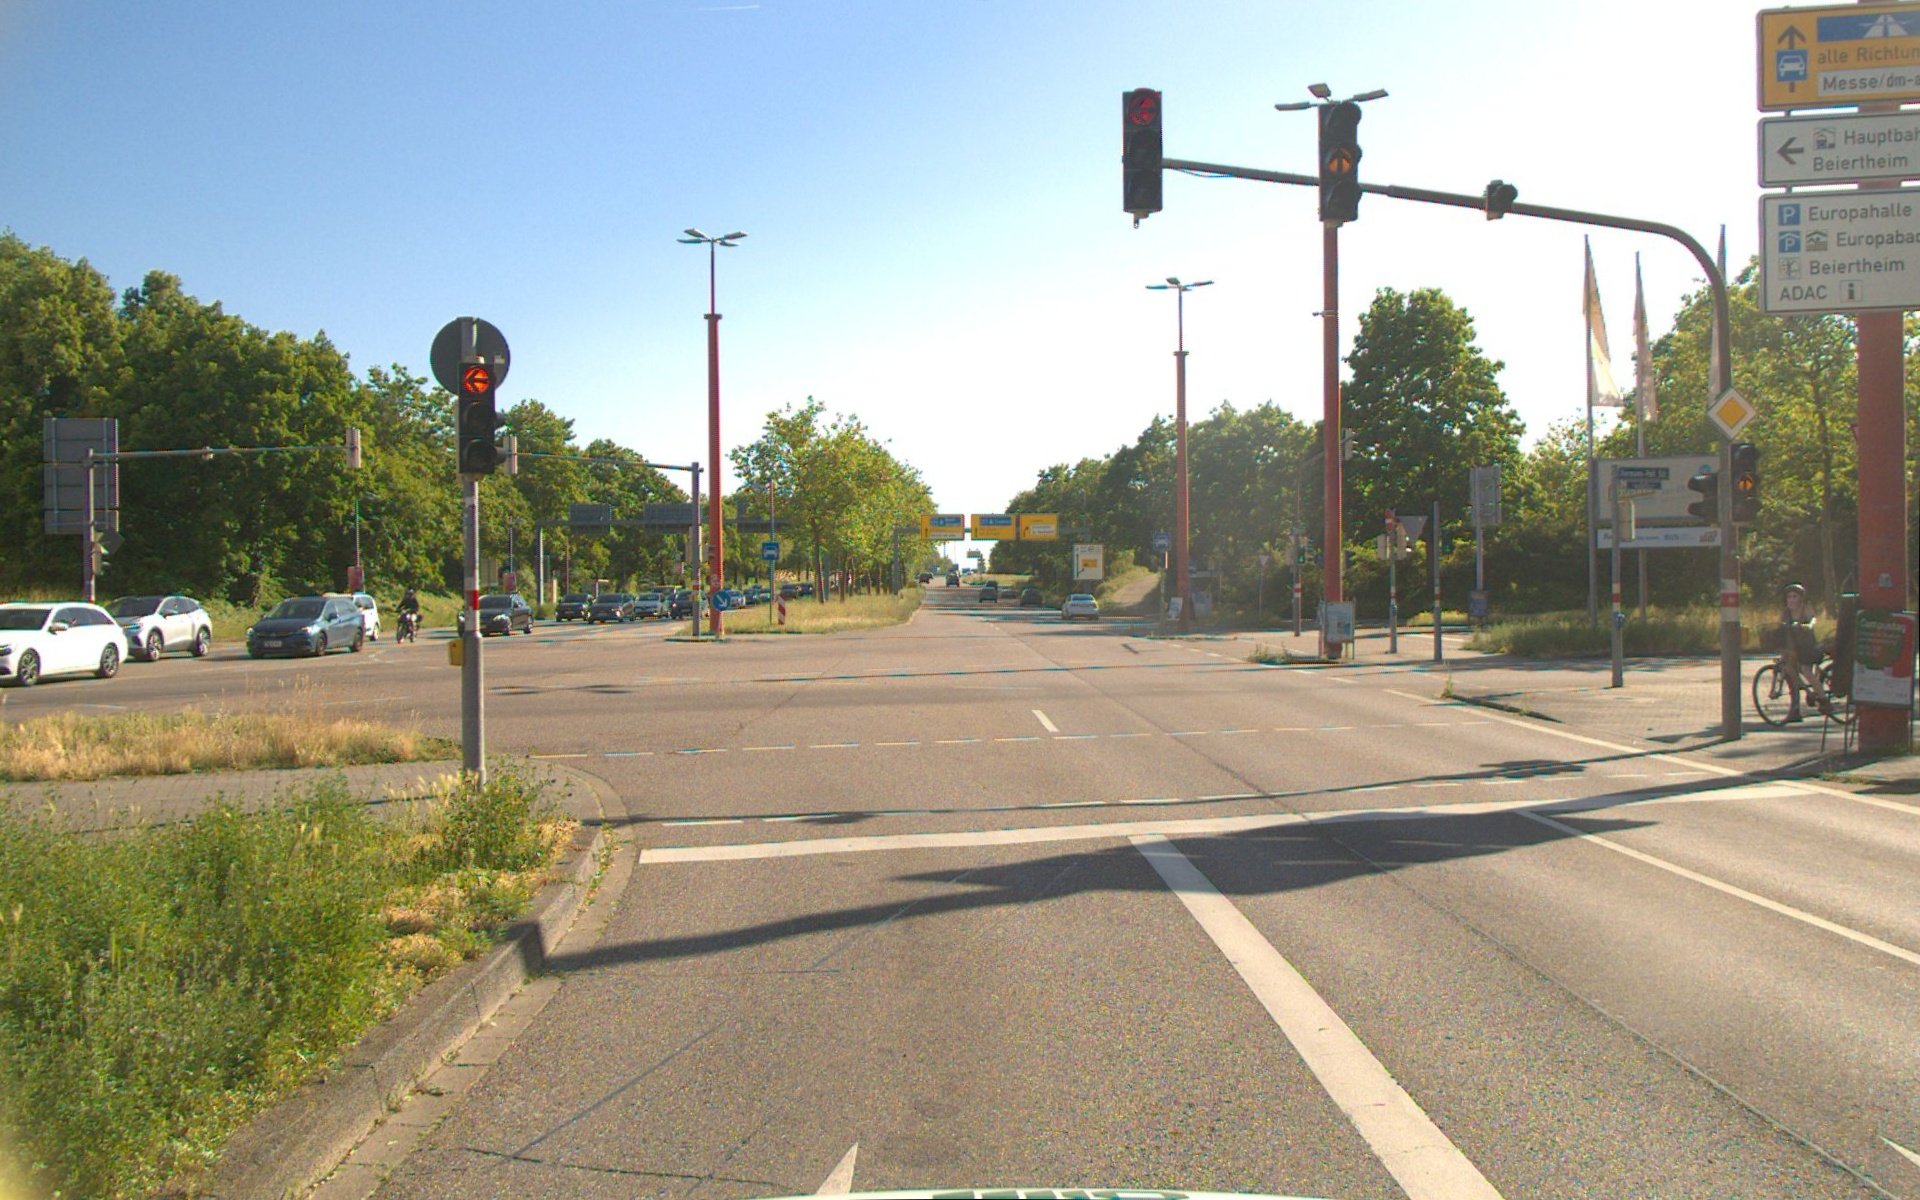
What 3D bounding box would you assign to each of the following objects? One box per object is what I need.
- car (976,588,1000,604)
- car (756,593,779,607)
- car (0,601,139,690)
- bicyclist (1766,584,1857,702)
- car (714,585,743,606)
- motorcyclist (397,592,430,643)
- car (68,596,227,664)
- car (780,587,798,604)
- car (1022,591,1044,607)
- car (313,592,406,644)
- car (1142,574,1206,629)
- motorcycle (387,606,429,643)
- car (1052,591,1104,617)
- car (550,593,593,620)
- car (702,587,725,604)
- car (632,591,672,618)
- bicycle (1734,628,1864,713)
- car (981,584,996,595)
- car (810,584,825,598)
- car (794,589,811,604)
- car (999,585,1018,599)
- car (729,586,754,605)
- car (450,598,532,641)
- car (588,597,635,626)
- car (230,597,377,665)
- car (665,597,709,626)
[{"bbox_3d":[2.730,-0.436,162.414,1.955,1.523,3.995,0,0,-6],"label":"car"},{"bbox_3d":[-18.137,0.012,155.873,1.964,1.330,3.997,0,0,-4],"label":"car"},{"bbox_3d":[-17.149,0.799,30.587,1.669,1.447,4.642,-1,1,-1],"label":"car"},{"bbox_3d":[10.131,0.493,19.692,0.733,1.365,0.699,0,0,-34],"label":"bicyclist"},{"bbox_3d":[-18.355,-0.330,131.314,1.669,1.624,4.000,1,0,0],"label":"car"},{"bbox_3d":[-17.407,0.559,52.688,0.817,1.627,0.641,0,0,6],"label":"motorcyclist"},{"bbox_3d":[-20.646,0.731,42.261,1.800,1.629,4.438,-1,0,1],"label":"car"},{"bbox_3d":[-18.722,-0.482,181.417,1.592,1.769,4.000,0,0,0],"label":"car"},{"bbox_3d":[6.248,-0.076,141.418,1.702,1.365,3.081,0,0,-1],"label":"car"},{"bbox_3d":[-21.013,0.609,58.036,1.764,1.737,4.059,-1,0,-1],"label":"car"},{"bbox_3d":[7.809,0.026,60.007,1.951,1.920,4.004,0,0,12],"label":"car"},{"bbox_3d":[-17.478,0.757,52.424,0.412,1.151,2.096,0,0,6],"label":"motorcycle"},{"bbox_3d":[6.450,0.209,90.703,2.016,1.395,4.384,0,0,-8],"label":"car"},{"bbox_3d":[-22.182,0.374,94.538,1.513,1.458,3.885,-2,0,-1],"label":"car"},{"bbox_3d":[-22.118,-0.393,148.547,1.595,1.476,3.433,0,0,-1],"label":"car"},{"bbox_3d":[-17.515,0.219,94.265,1.572,1.485,3.950,0,0,0],"label":"car"},{"bbox_3d":[9.974,0.814,19.618,2.147,0.894,0.552,-1,0,-39],"label":"bicycle"},{"bbox_3d":[4.140,-1.483,237.330,1.952,1.567,4.002,0,0,3],"label":"car"},{"bbox_3d":[-18.708,-1.177,217.332,1.575,1.761,3.789,0,0,0],"label":"car"},{"bbox_3d":[-19.122,-0.420,200.821,1.623,1.778,4.000,0,0,0],"label":"car"},{"bbox_3d":[5.426,-0.909,186.100,1.953,1.567,3.999,1,0,-1],"label":"car"},{"bbox_3d":[-18.983,-0.373,143.737,1.669,1.586,3.803,0,0,0],"label":"car"},{"bbox_3d":[-17.155,0.681,60.743,1.838,1.511,4.603,1,0,-2],"label":"car"},{"bbox_3d":[-17.578,0.550,83.538,1.517,1.401,4.261,0,0,-1],"label":"car"},{"bbox_3d":[-16.900,0.769,42.839,1.952,1.622,4.464,-1,0,1],"label":"car"},{"bbox_3d":[-14.583,0.617,88.378,1.666,1.446,3.999,3,0,-1],"label":"car"}]
